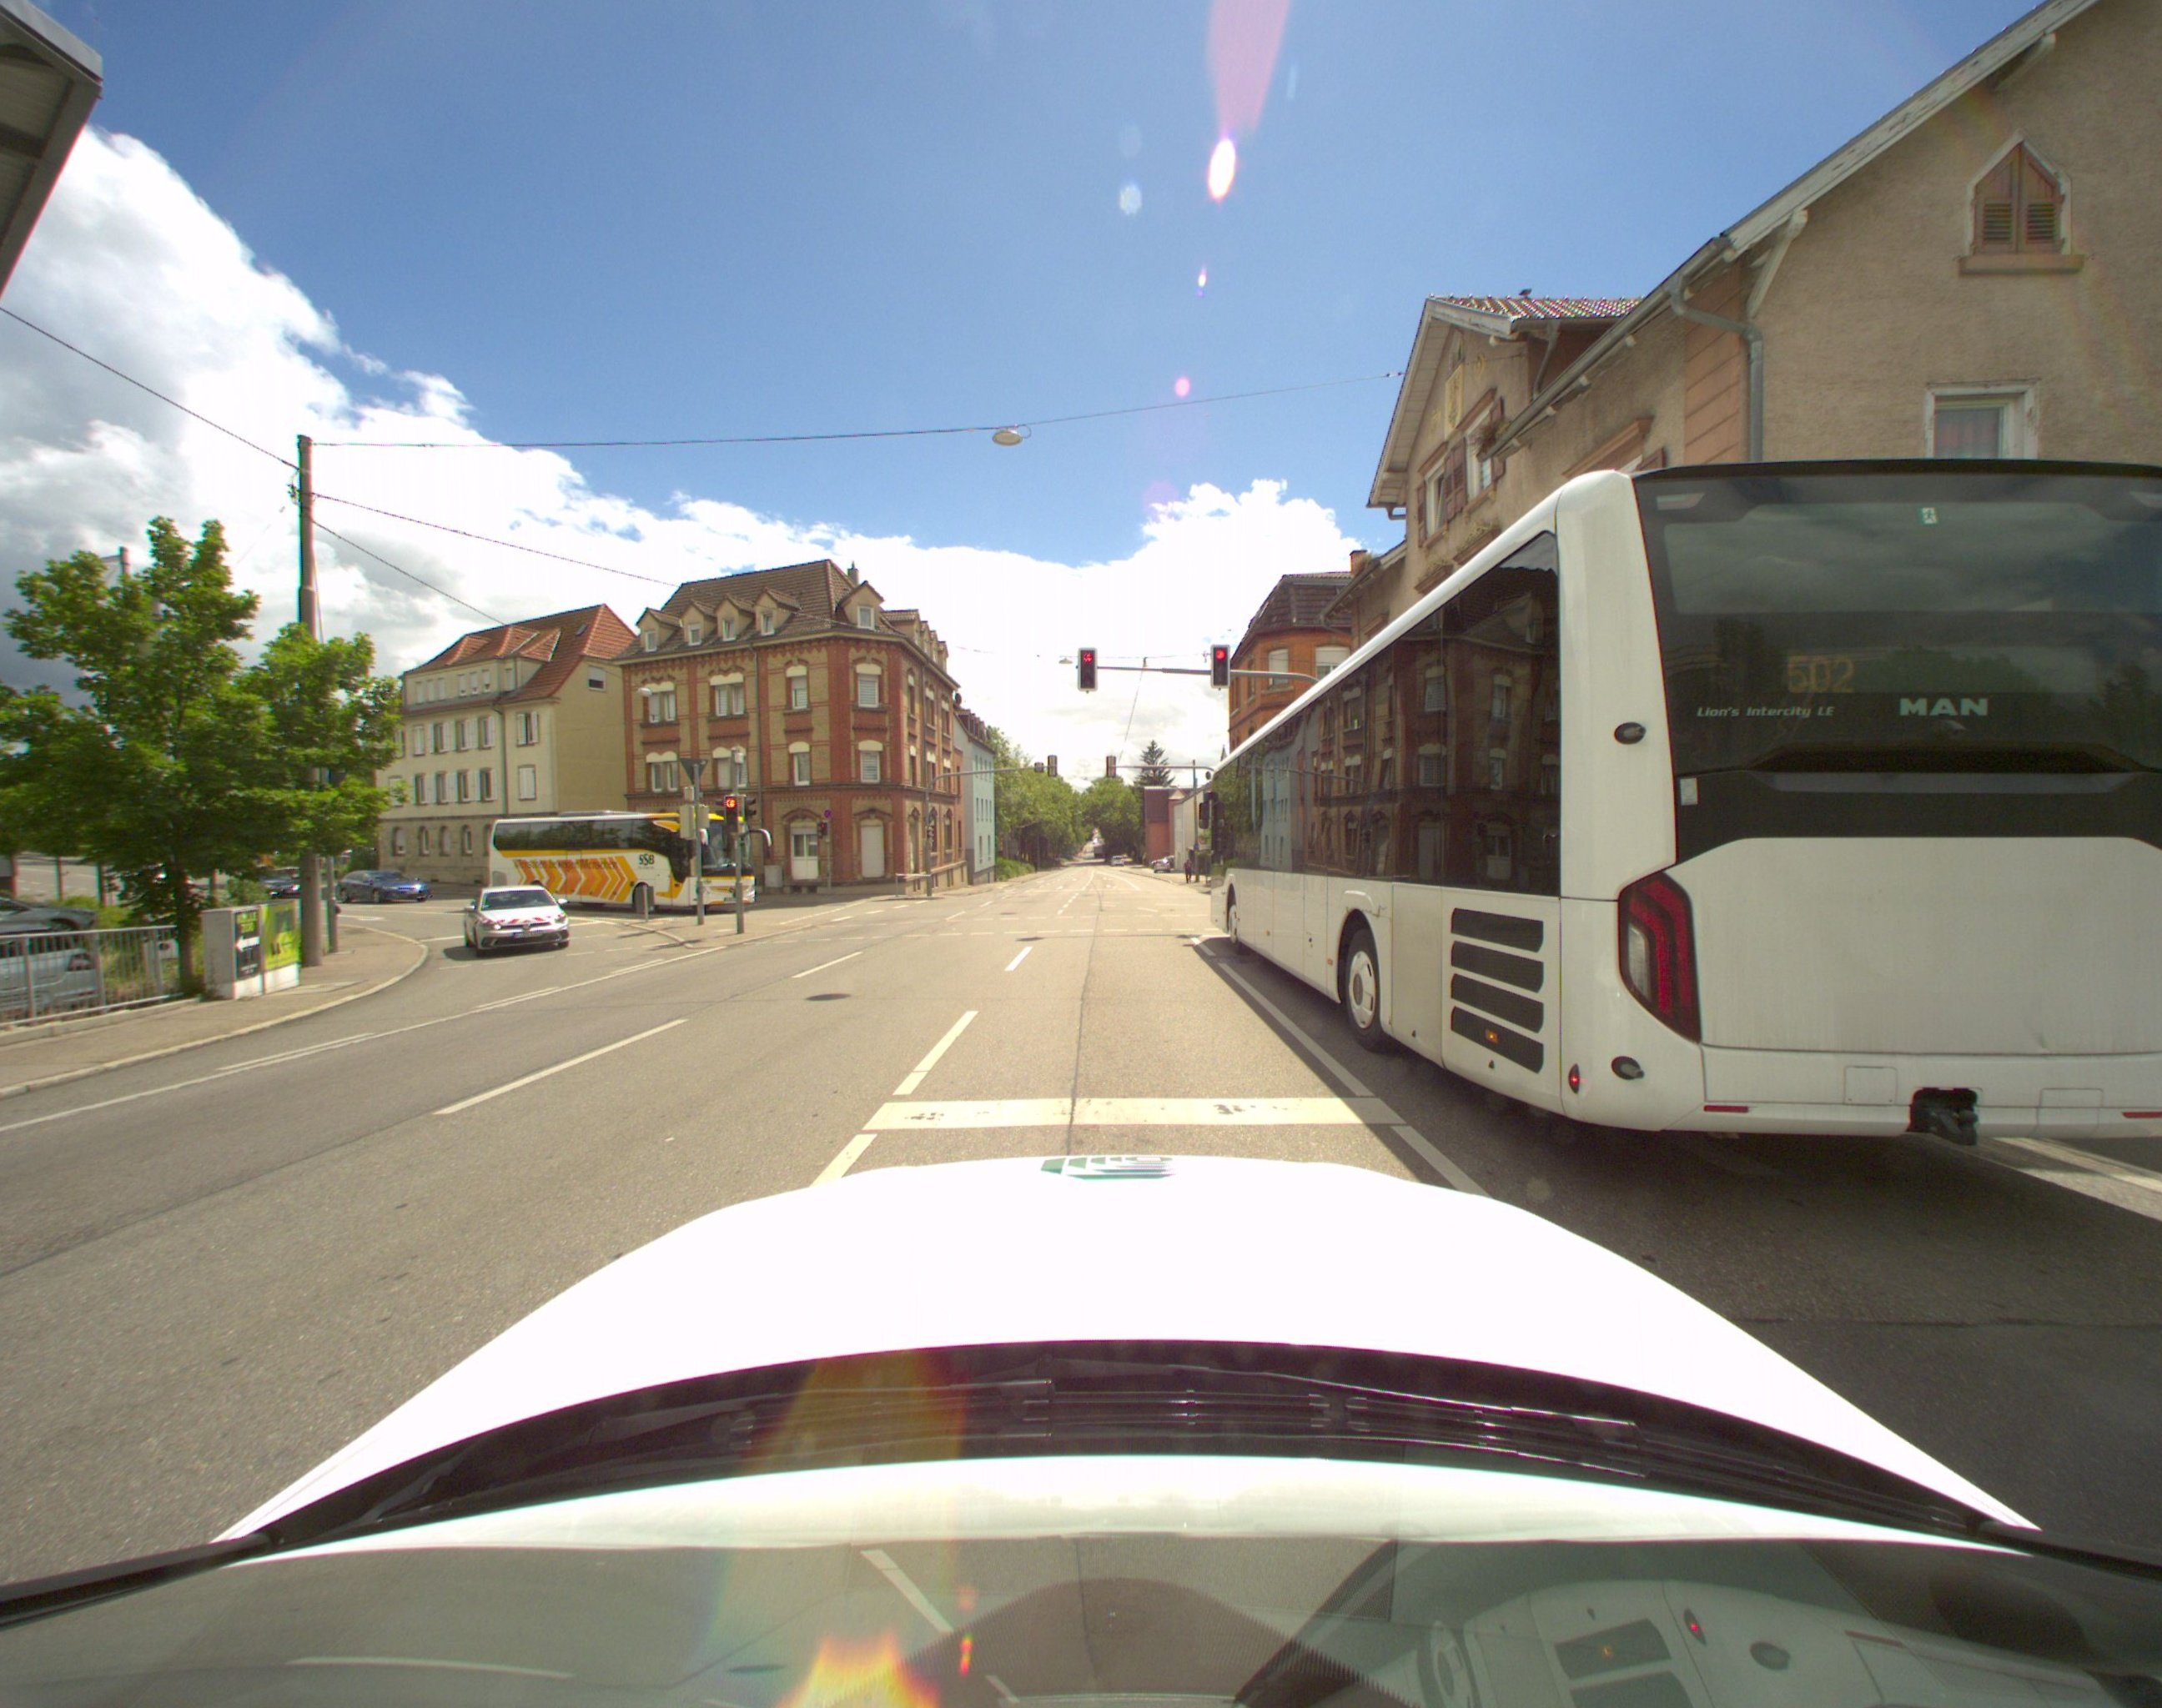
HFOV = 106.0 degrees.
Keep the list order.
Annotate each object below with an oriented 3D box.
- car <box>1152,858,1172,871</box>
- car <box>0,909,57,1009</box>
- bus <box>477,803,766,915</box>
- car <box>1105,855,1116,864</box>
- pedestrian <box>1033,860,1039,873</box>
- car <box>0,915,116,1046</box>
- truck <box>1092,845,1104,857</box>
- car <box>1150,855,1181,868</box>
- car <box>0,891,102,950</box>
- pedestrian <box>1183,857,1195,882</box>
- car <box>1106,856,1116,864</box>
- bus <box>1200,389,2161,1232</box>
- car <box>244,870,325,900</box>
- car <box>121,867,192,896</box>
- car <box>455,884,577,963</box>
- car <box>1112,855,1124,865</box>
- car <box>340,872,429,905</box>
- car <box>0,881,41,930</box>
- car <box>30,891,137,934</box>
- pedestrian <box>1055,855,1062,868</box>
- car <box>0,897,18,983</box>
[{"bbox_3d":[9.228,1.173,93.025,1.788,1.409,4.000,-2,0,1],"label":"car"},{"bbox_3d":[-19.607,1.844,14.177,3.455,1.526,1.626,-1,2,29],"label":"car"},{"bbox_3d":[-17.287,0.266,30.199,12.112,3.621,2.787,-1,0,25],"label":"bus"},{"bbox_3d":[5.291,0.985,145.926,1.787,1.409,4.421,-1,0,3],"label":"car"},{"bbox_3d":[-5.417,1.519,98.143,0.727,1.565,0.561,-1,-1,0],"label":"pedestrian"},{"bbox_3d":[-15.941,1.820,12.018,3.321,1.560,1.692,0,2,32],"label":"car"},{"bbox_3d":[4.840,-0.871,234.080,2.917,3.081,7.883,-2,0,0],"label":"truck"},{"bbox_3d":[11.776,1.042,113.080,3.978,1.757,1.998,-2,0,-3],"label":"car"},{"bbox_3d":[-29.582,1.837,22.182,1.777,1.477,3.522,-2,0,32],"label":"car"},{"bbox_3d":[7.663,1.114,57.874,0.736,1.750,0.619,-2,0,1],"label":"pedestrian"},{"bbox_3d":[5.748,1.122,154.021,1.787,1.409,4.421,-1,0,3],"label":"car"},{"bbox_3d":[3.437,-0.154,9.339,2.662,3.155,12.467,-2,0,2],"label":"bus"},{"bbox_3d":[-41.246,1.599,42.168,3.949,1.409,1.923,-2,0,29],"label":"car"},{"bbox_3d":[-52.988,1.572,46.669,3.949,1.554,1.923,-2,0,29],"label":"car"},{"bbox_3d":[-13.064,1.498,18.752,1.894,1.418,3.578,-6,3,-40],"label":"car"},{"bbox_3d":[5.880,0.947,129.538,1.787,1.409,4.002,-1,0,2],"label":"car"},{"bbox_3d":[-31.900,1.563,37.268,3.949,1.409,1.762,-2,0,28],"label":"car"},{"bbox_3d":[-36.271,1.712,25.651,1.785,1.554,4.023,-2,0,25],"label":"car"},{"bbox_3d":[-37.652,2.164,30.732,3.456,1.448,1.811,-2,0,26],"label":"car"},{"bbox_3d":[-3.600,1.254,130.592,0.991,2.013,1.189,-2,0,1],"label":"pedestrian"},{"bbox_3d":[-23.300,1.764,16.474,3.455,1.680,1.663,-1,2,30],"label":"car"}]
